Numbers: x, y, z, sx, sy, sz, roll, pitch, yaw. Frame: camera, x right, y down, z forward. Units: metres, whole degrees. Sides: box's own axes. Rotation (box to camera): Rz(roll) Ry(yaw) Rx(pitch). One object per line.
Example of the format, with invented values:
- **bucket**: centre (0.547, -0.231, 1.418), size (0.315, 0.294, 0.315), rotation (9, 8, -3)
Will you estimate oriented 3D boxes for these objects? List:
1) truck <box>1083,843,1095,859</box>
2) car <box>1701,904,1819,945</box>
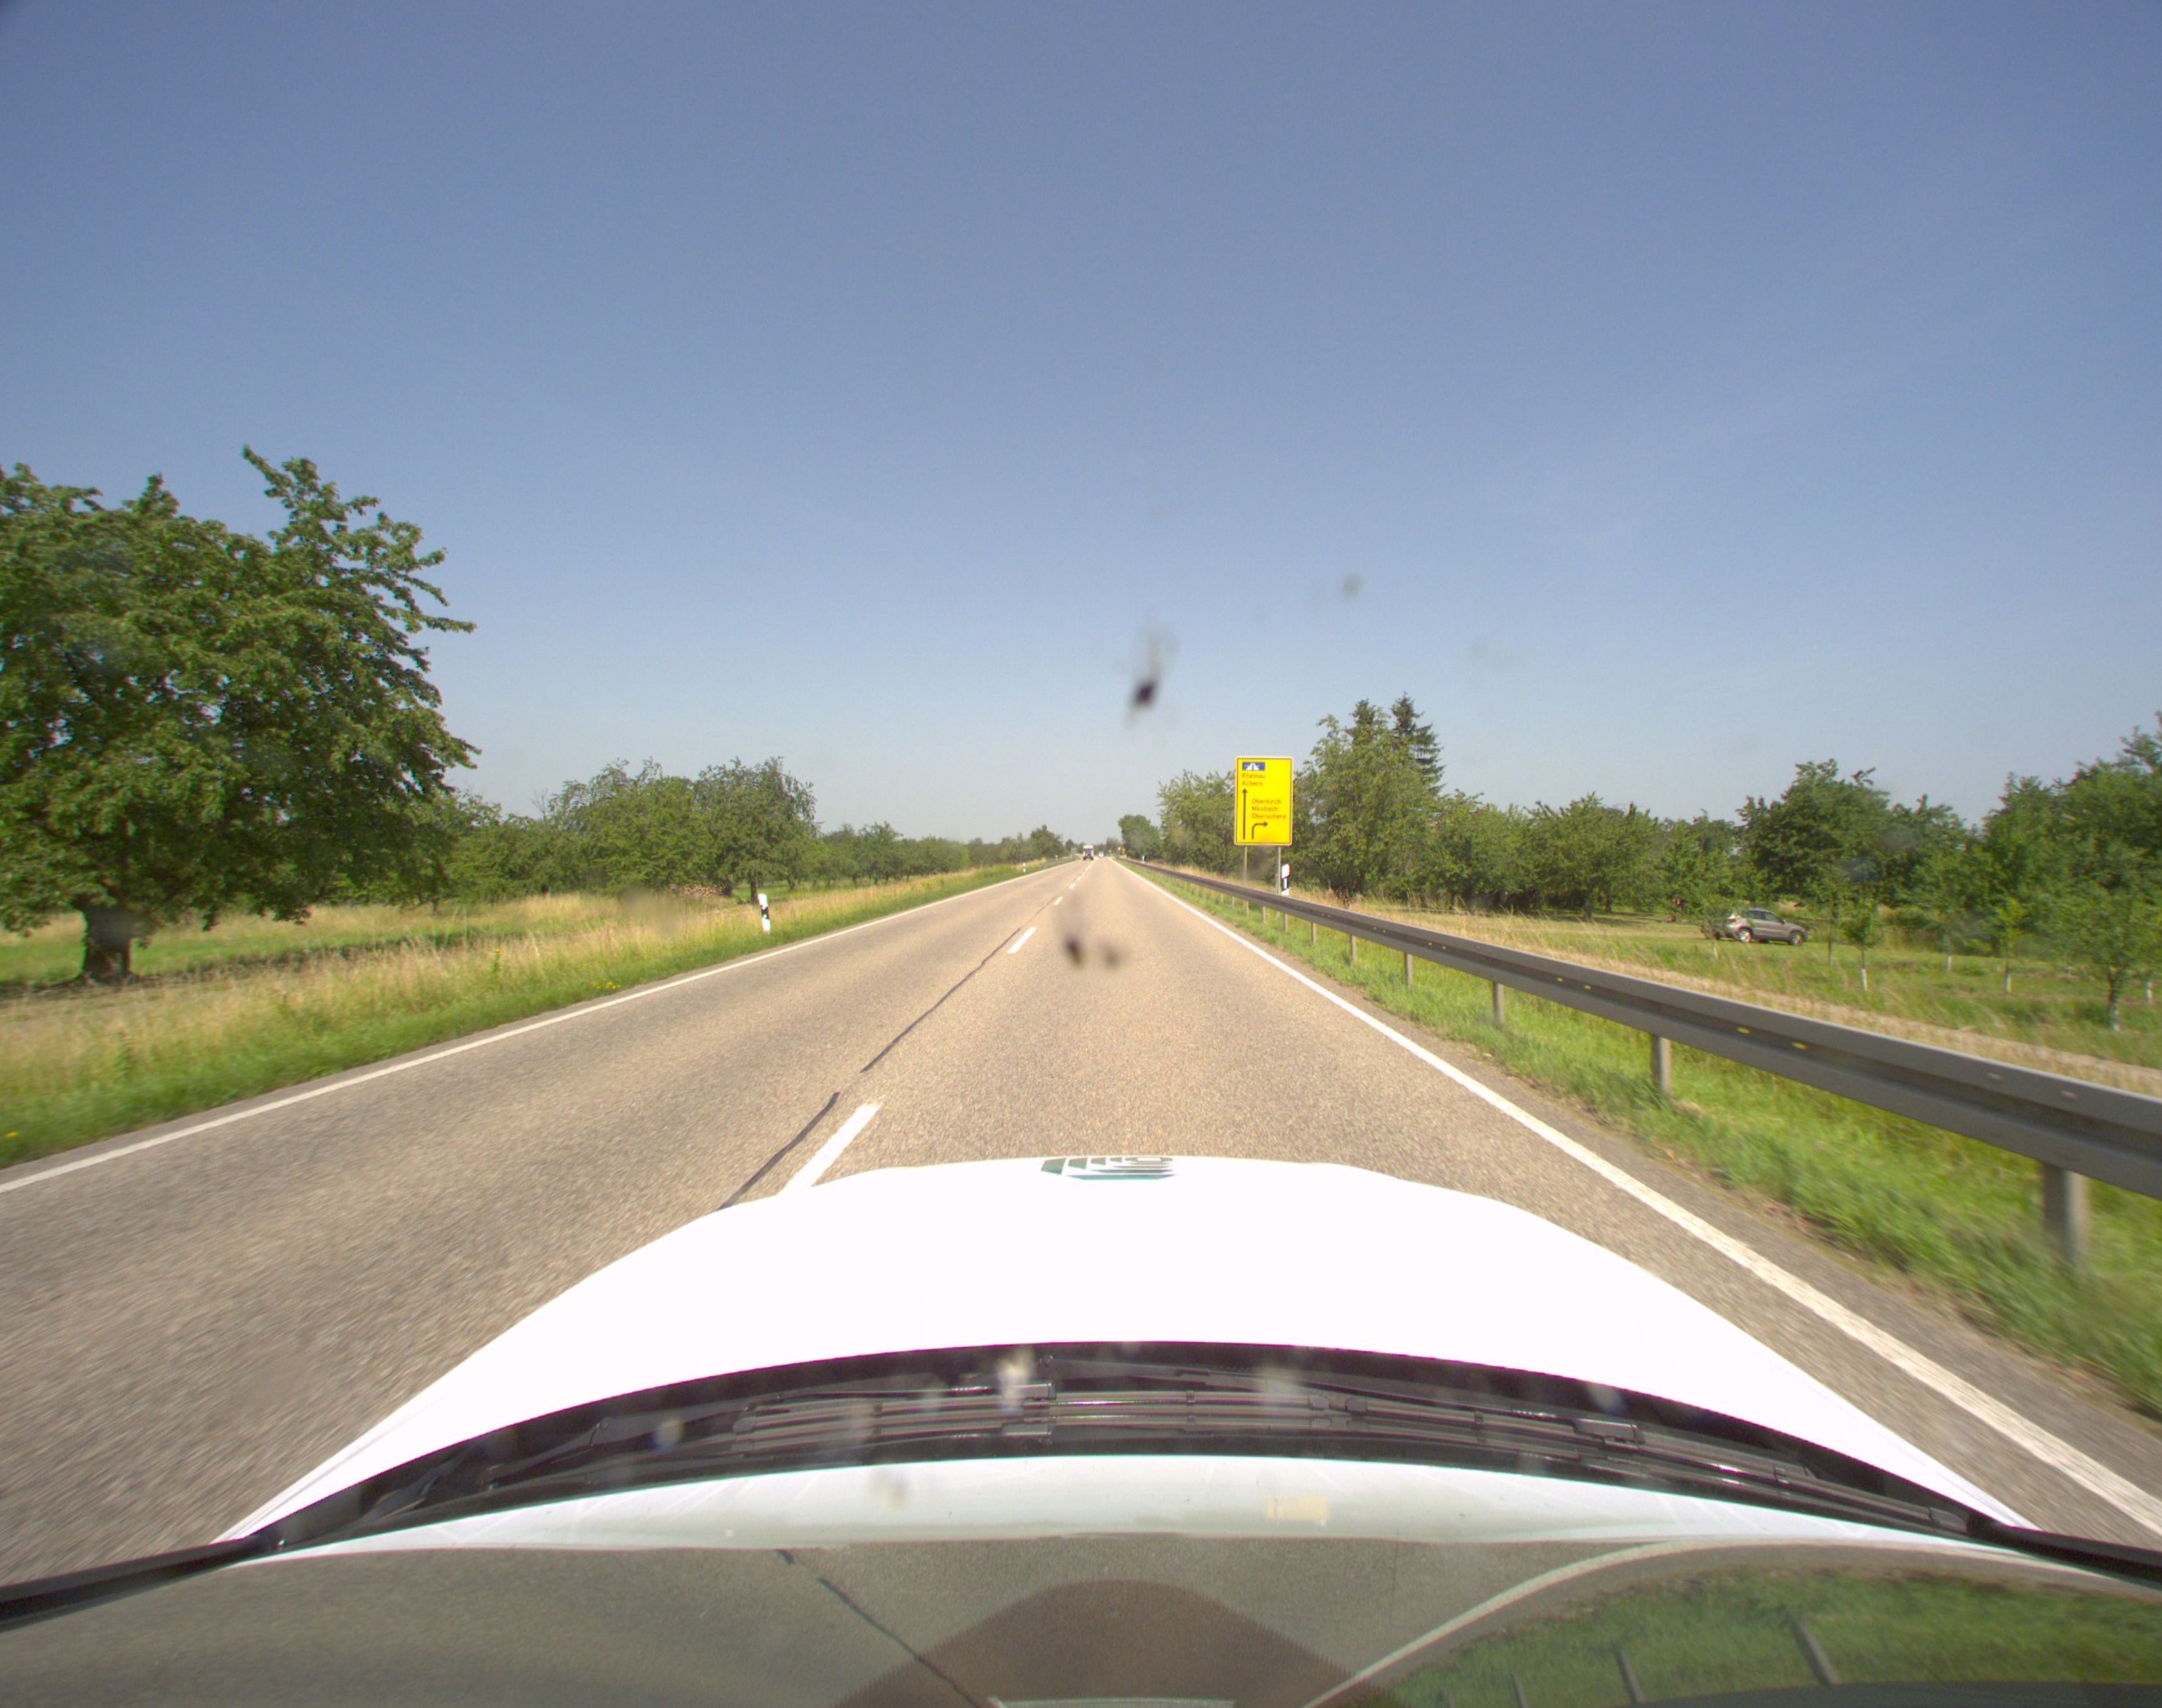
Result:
- **truck**: centre (1.998, -0.701, 198.709), size (2.718, 3.672, 9.385), rotation (-1, -1, 1)
- **car**: centre (30.863, 3.193, 37.079), size (4.075, 1.534, 1.852), rotation (3, -1, -8)
